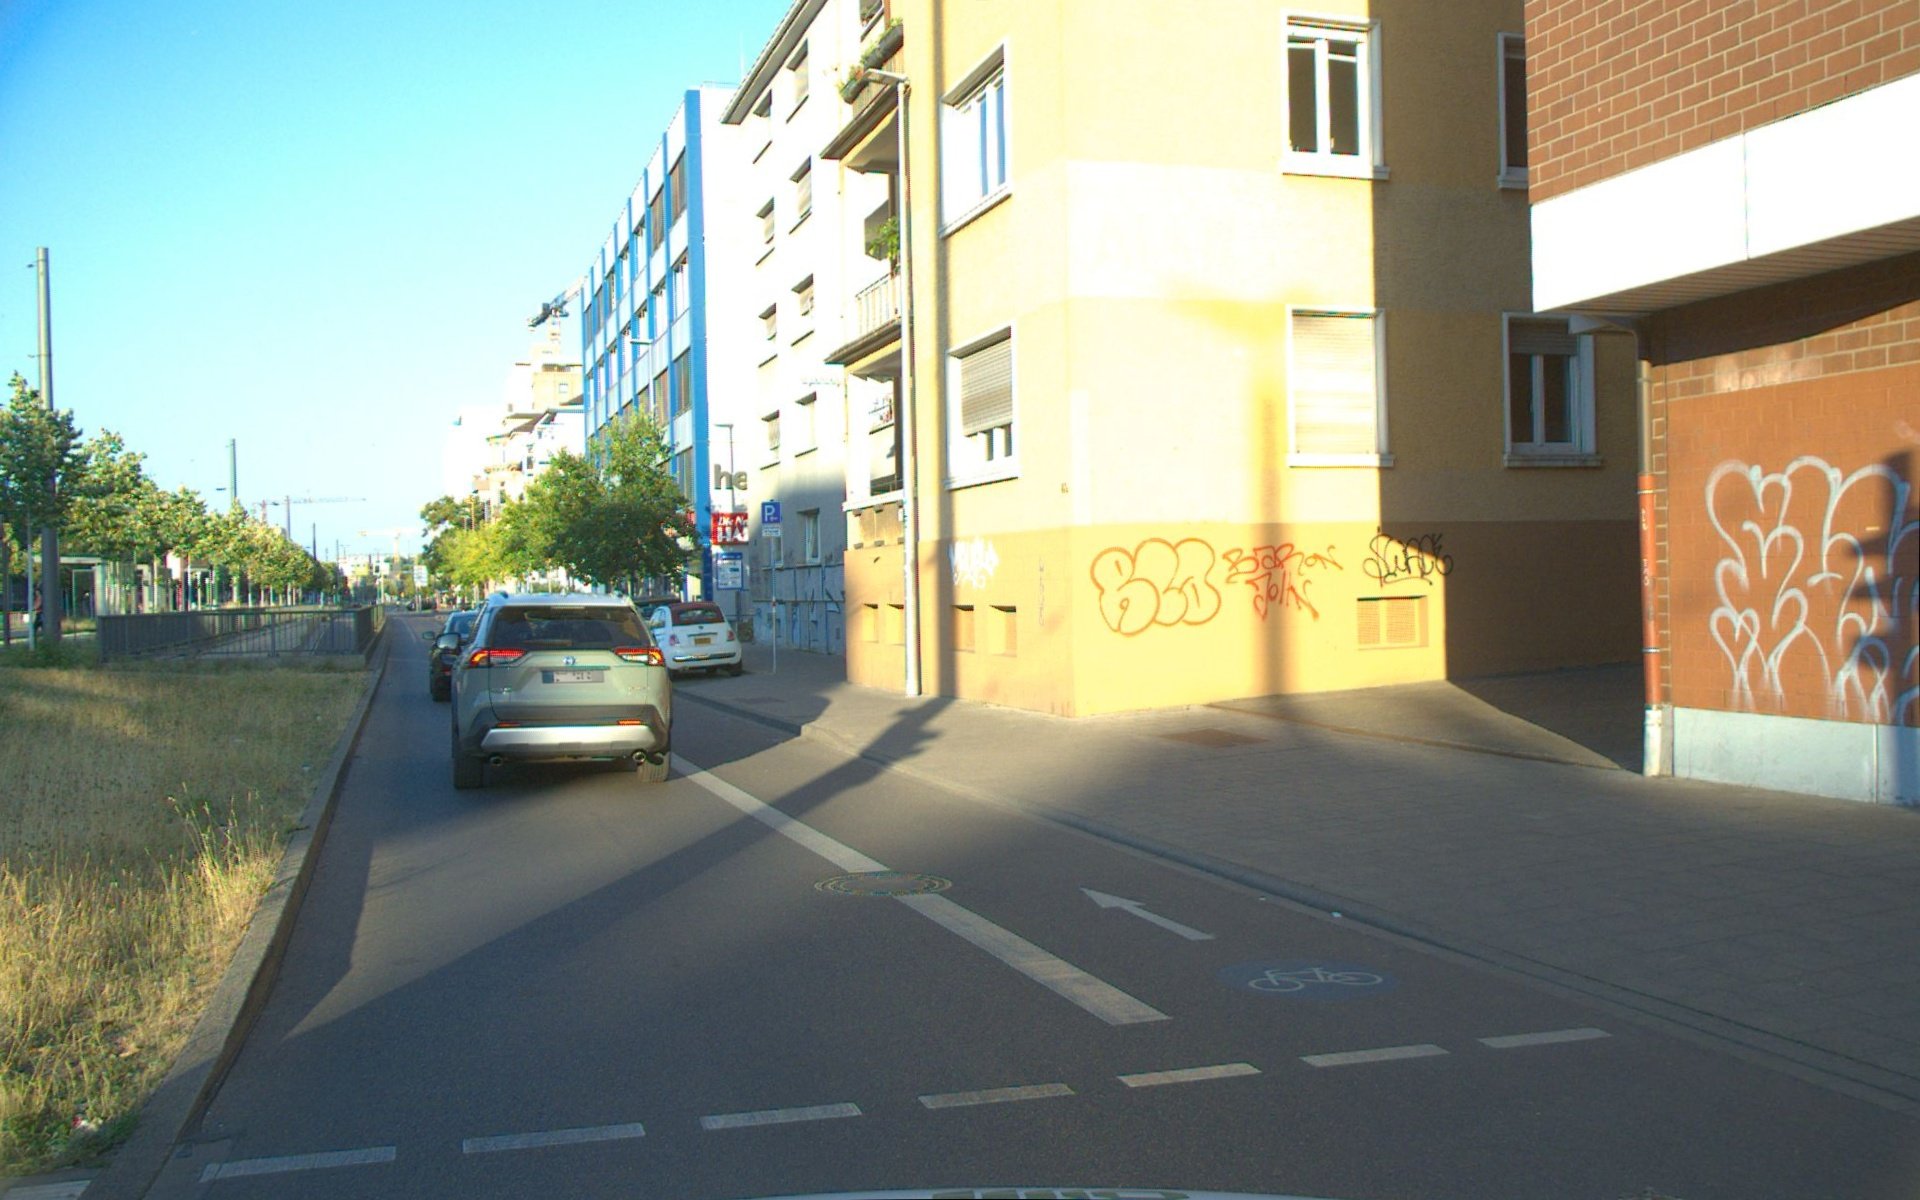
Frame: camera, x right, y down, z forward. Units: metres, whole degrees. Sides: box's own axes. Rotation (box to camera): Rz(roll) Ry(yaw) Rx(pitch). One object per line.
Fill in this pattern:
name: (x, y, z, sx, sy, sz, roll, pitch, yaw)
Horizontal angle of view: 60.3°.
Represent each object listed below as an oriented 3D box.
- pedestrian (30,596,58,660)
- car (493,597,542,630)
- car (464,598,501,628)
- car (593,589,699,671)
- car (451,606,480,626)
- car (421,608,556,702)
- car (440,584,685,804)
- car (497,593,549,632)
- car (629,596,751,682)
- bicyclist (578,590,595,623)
pedestrian: (-25.813, 0.786, 46.613, 0.628, 1.759, 0.629, -2, 0, -32)
car: (-21.125, 0.636, 78.919, 1.793, 1.480, 4.102, -2, 0, -21)
car: (-30.742, 0.834, 106.465, 1.829, 1.735, 4.227, -6, 2, -21)
car: (-7.410, 0.663, 38.699, 1.731, 1.682, 4.503, -4, 1, -19)
car: (-40.109, 1.297, 134.047, 1.768, 1.496, 4.415, -5, 1, -22)
car: (-8.171, 0.888, 28.451, 1.832, 1.488, 4.165, 1, -1, -22)
car: (-3.822, 0.774, 15.407, 1.830, 1.744, 4.169, 0, -1, -19)
car: (-18.339, 0.520, 69.320, 1.660, 1.480, 4.103, -2, 0, -21)
car: (-5.565, 0.768, 33.772, 1.646, 1.544, 3.577, -4, 1, -22)
bicyclist: (-17.073, 0.297, 75.553, 0.550, 1.501, 0.619, -4, 1, -21)
